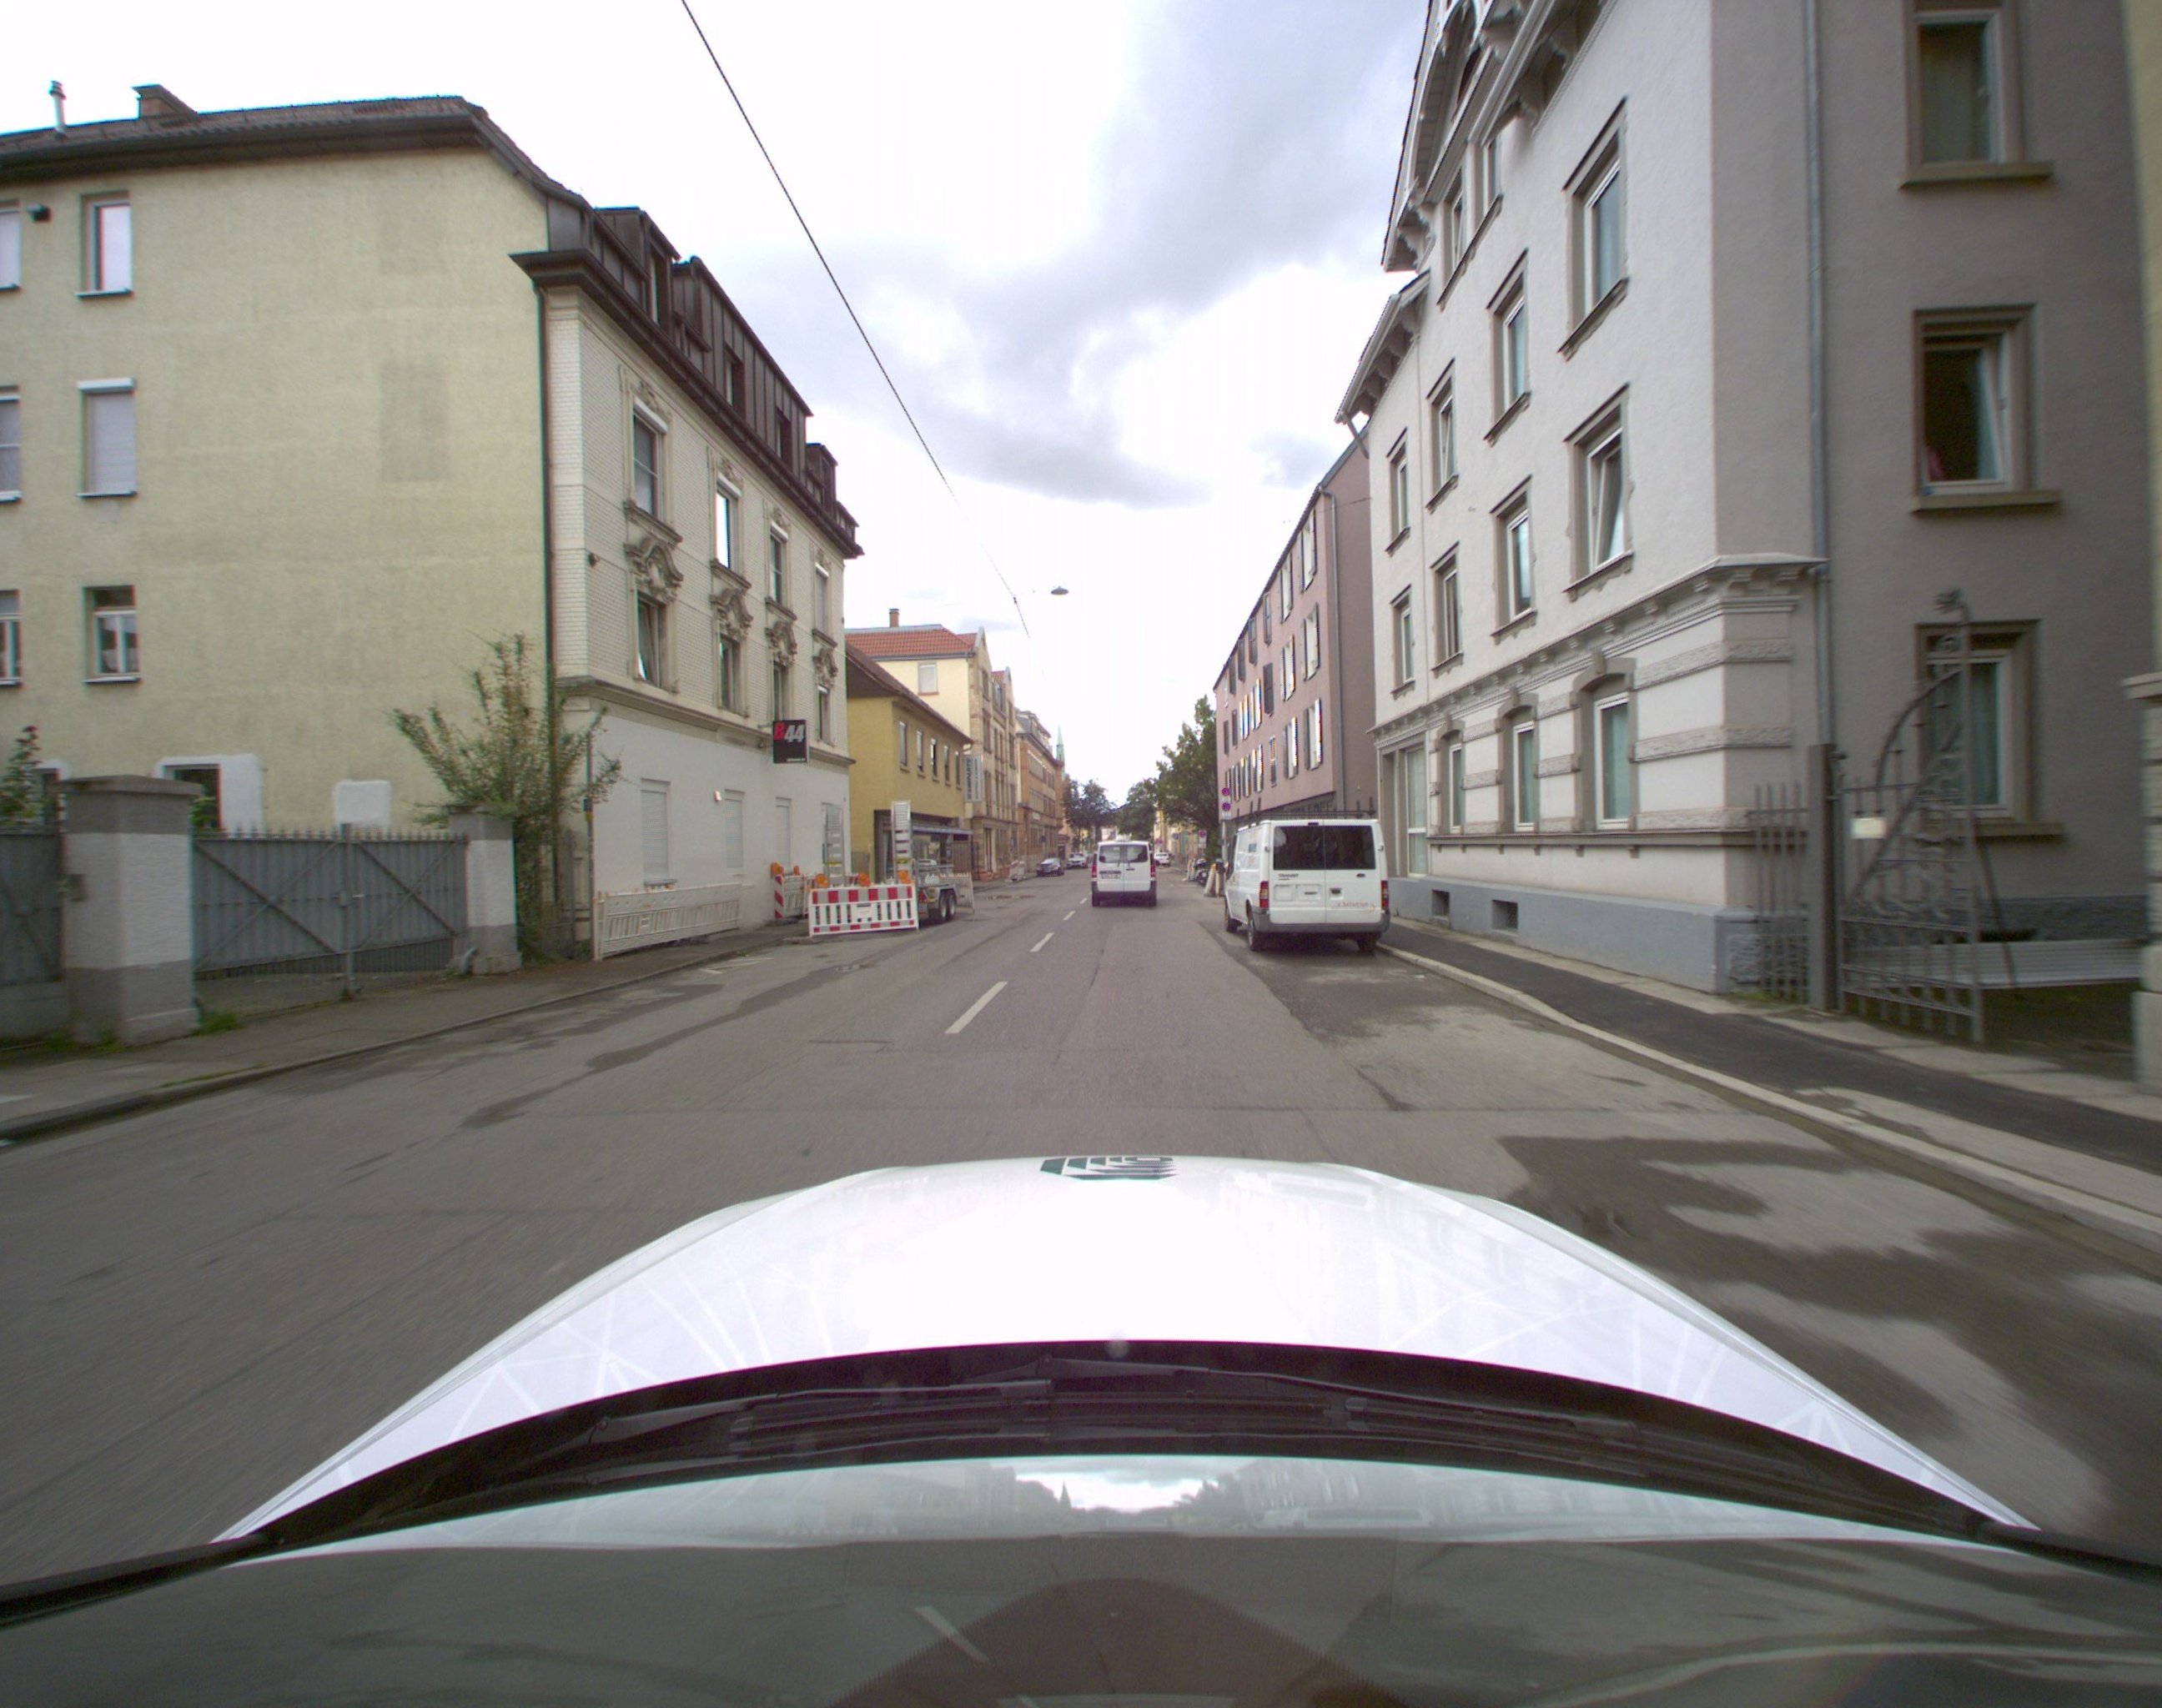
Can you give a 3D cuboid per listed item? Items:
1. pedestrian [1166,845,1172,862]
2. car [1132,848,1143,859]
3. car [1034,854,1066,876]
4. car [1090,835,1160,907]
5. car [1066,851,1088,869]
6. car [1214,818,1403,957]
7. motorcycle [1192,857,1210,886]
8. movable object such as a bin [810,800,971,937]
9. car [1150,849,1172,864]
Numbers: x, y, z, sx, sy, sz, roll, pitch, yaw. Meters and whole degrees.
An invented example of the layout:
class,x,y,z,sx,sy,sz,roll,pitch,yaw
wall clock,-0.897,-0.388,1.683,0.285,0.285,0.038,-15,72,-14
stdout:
class,x,y,z,sx,sy,sz,roll,pitch,yaw
pedestrian,10.499,-0.059,97.333,0.620,2.013,0.908,2,0,4
car,10.910,-0.071,156.127,1.984,2.014,4.005,-2,-1,5
car,-2.255,0.813,60.704,1.985,1.442,4.003,-3,0,3
car,1.282,0.469,24.814,1.884,1.929,4.647,-2,0,2
car,-0.415,0.641,85.093,1.985,1.741,4.003,2,0,3
car,3.676,0.471,14.205,2.120,2.005,4.929,0,0,2
motorcycle,5.396,0.777,36.788,0.640,1.246,2.271,-2,0,5
movable object such as a bin,-4.453,0.308,19.969,2.527,2.825,4.542,-3,0,3
car,8.303,0.280,84.754,1.985,1.485,4.003,2,0,3
